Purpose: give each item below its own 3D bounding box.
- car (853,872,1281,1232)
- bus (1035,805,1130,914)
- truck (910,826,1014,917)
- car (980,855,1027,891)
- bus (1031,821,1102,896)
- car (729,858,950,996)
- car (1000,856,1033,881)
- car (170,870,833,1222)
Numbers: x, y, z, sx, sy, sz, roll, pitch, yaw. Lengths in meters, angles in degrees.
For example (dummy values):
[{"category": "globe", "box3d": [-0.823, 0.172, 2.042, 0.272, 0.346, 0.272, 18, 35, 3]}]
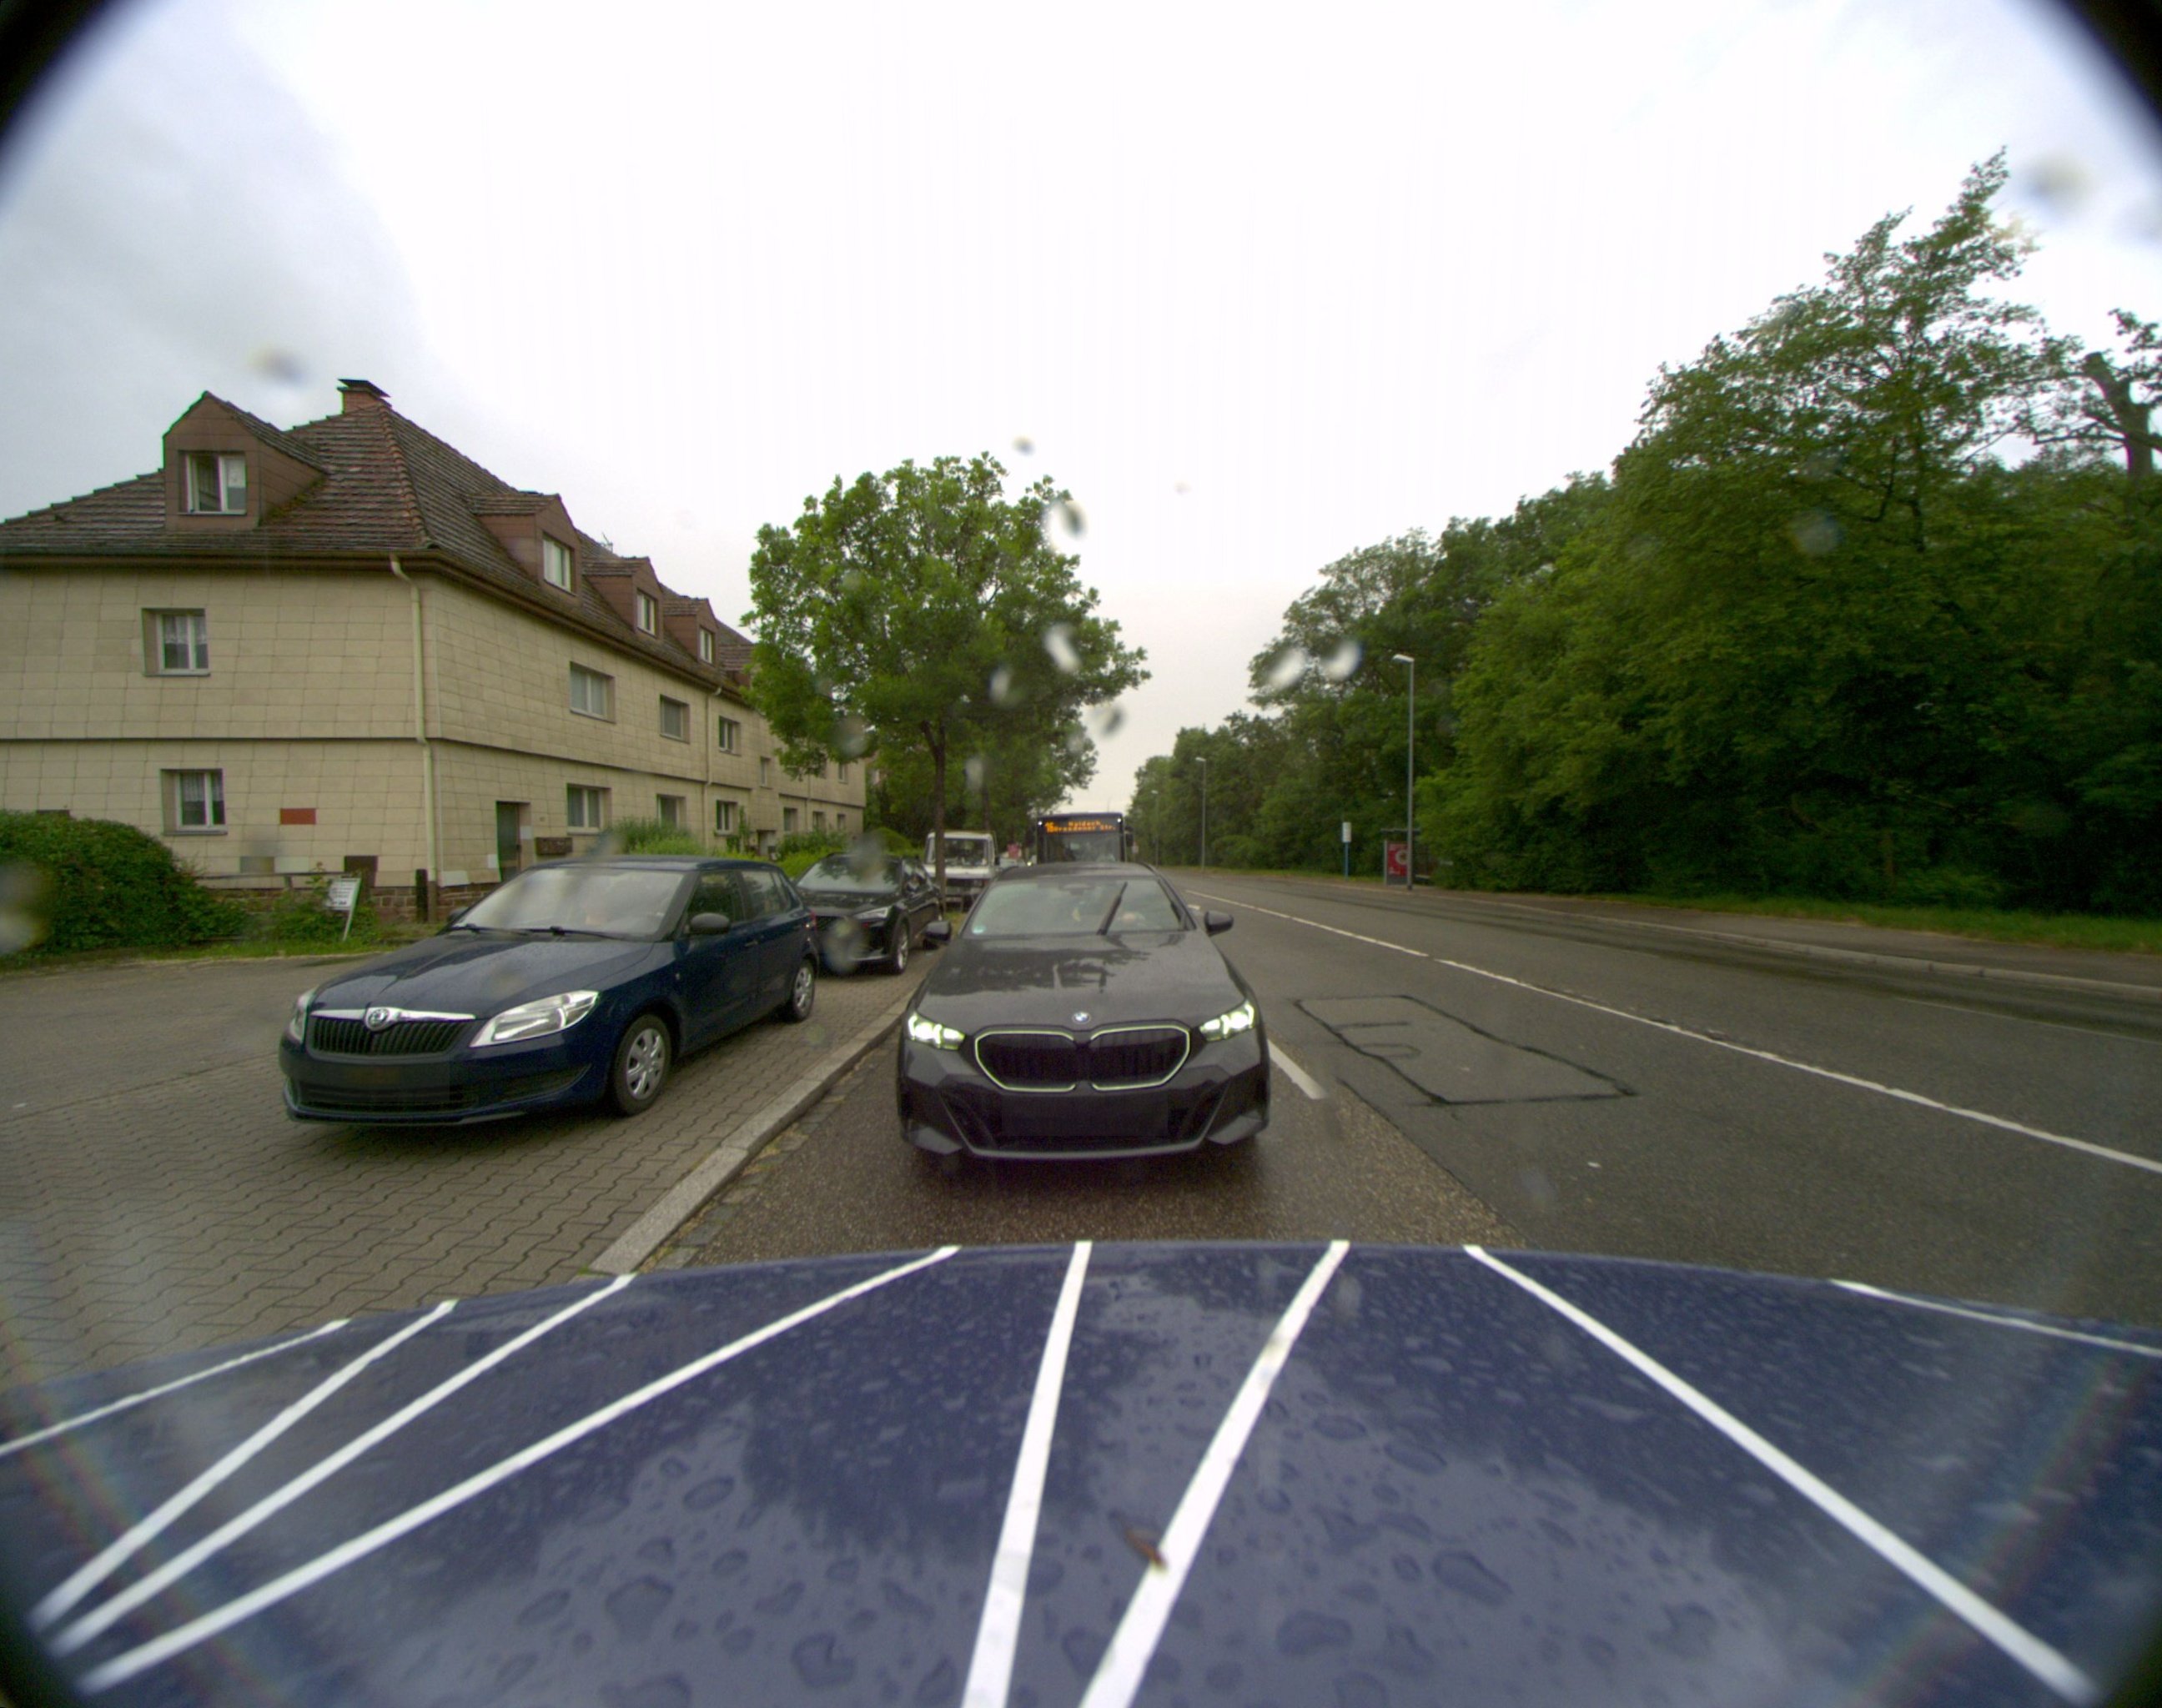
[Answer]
[{"category": "car", "box3d": [-0.072, 0.926, 5.603, 1.855, 1.461, 4.483, -1, 0, 0]}, {"category": "bus", "box3d": [-0.221, 0.153, 25.597, 2.563, 2.942, 9.447, -1, 0, -3]}, {"category": "truck", "box3d": [-3.269, 0.442, 22.258, 2.085, 2.208, 6.500, 2, 0, -1]}, {"category": "car", "box3d": [-3.353, 0.876, 33.399, 1.605, 1.427, 4.023, 3, -2, 0]}, {"category": "bus", "box3d": [-0.843, 0.190, 34.499, 2.563, 2.942, 8.553, -1, 0, -5]}, {"category": "car", "box3d": [-3.093, 0.840, 10.687, 1.718, 1.490, 4.183, 2, 0, 0]}, {"category": "car", "box3d": [-3.947, 0.856, 47.118, 1.692, 1.381, 4.499, 1, 0, -1]}, {"category": "car", "box3d": [-3.218, 0.894, 5.308, 1.608, 1.463, 3.856, 1, 0, 1]}]
